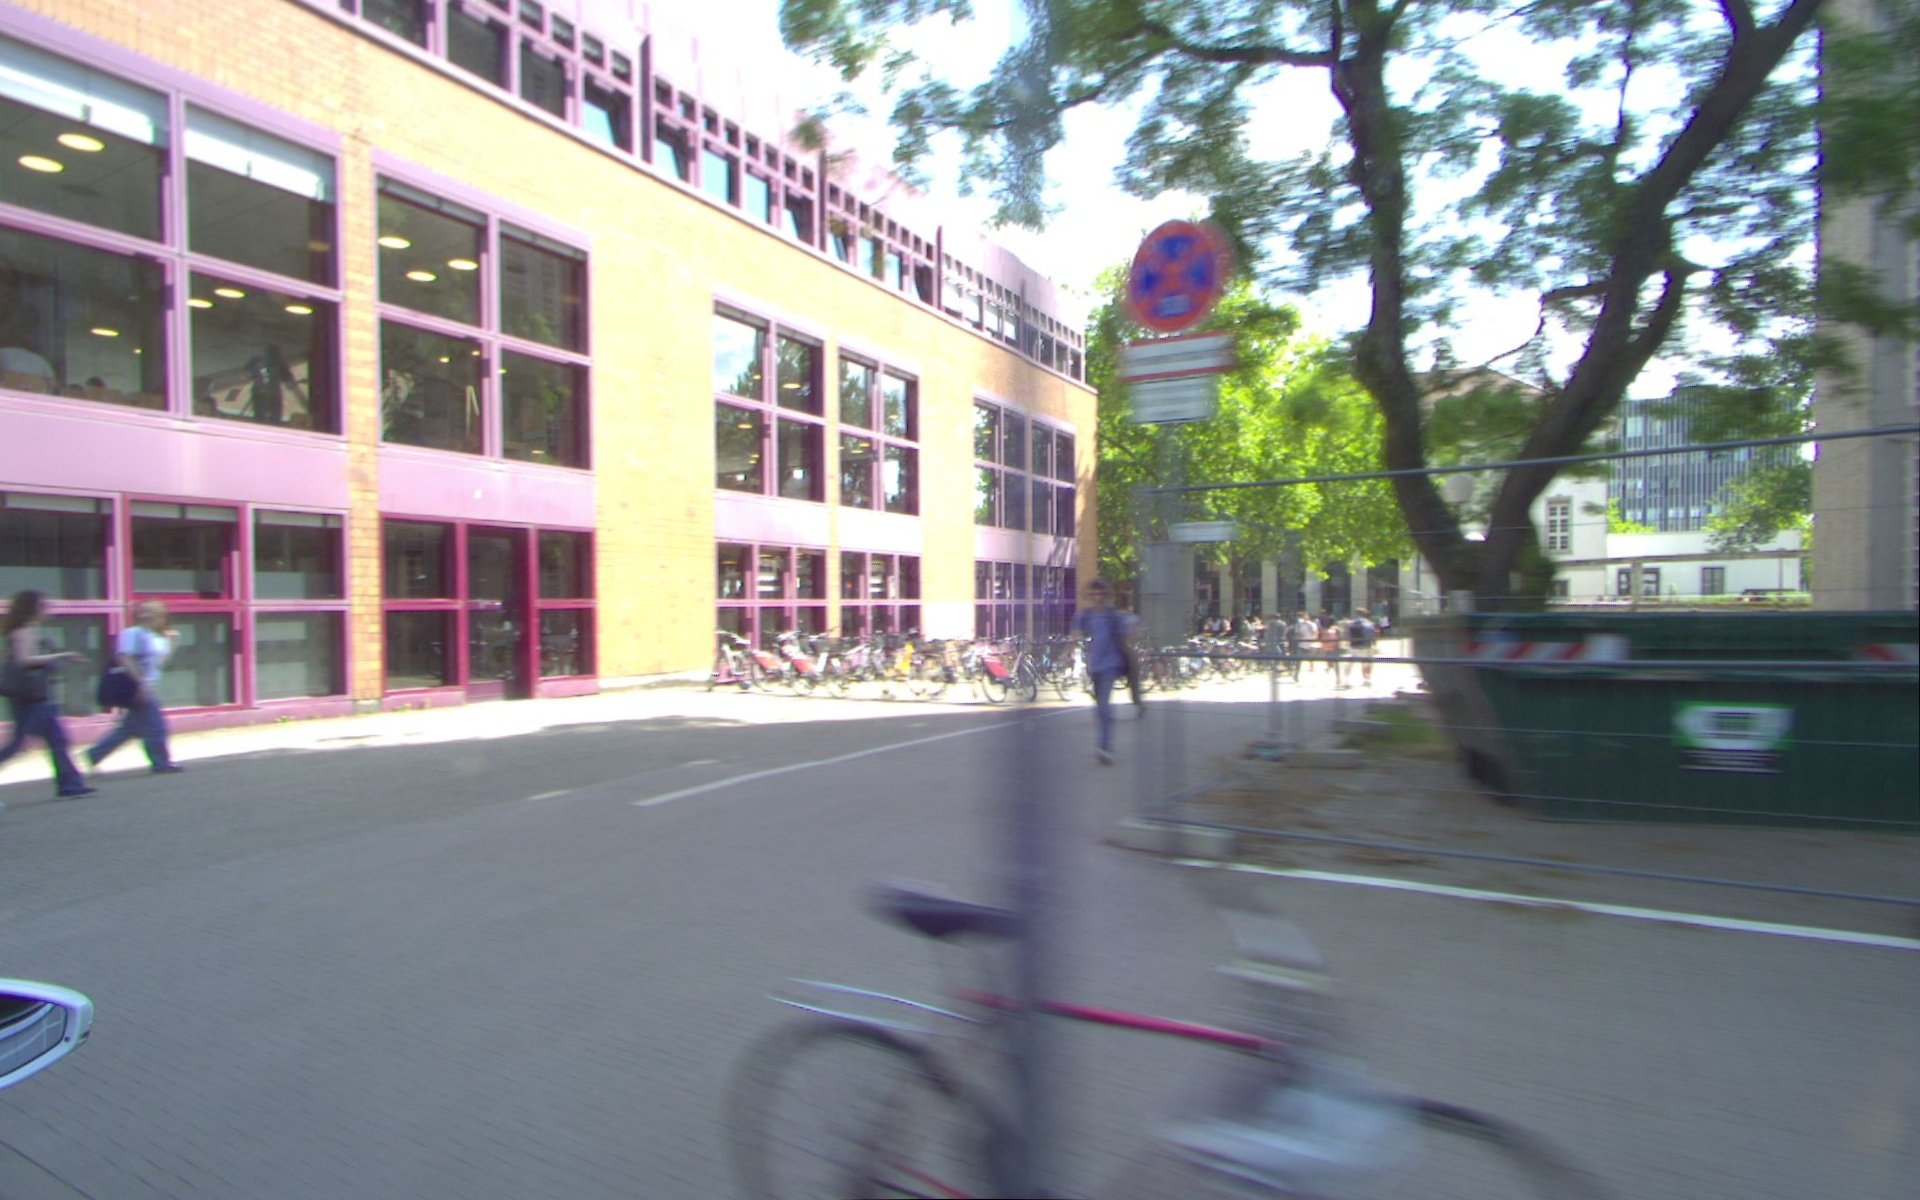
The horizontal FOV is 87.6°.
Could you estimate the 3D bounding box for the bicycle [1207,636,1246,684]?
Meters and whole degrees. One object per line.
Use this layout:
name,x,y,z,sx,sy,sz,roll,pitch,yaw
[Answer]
bicycle,6.965,1.541,26.136,0.537,1.184,1.995,0,-2,28

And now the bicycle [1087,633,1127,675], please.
bicycle,4.421,1.599,29.924,0.537,1.184,1.995,0,-2,28

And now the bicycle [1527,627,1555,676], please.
bicycle,14.724,1.294,25.403,0.537,1.184,1.995,0,-2,28

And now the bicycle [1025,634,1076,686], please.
bicycle,2.186,1.408,23.971,0.467,1.184,1.995,0,-2,28

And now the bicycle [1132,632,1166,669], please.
bicycle,6.234,1.643,32.985,0.537,1.184,1.995,0,-2,28

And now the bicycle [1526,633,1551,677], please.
bicycle,16.297,1.530,28.221,0.537,1.184,1.995,0,-2,28

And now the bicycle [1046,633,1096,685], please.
bicycle,2.633,1.367,23.614,0.467,1.184,1.995,0,-2,28

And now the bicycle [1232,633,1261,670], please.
bicycle,9.632,1.707,33.604,0.537,1.184,1.995,0,-2,28

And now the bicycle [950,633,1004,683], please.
bicycle,0.442,1.414,24.802,0.467,1.184,1.995,0,-2,28

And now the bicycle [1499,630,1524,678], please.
bicycle,14.137,1.369,25.686,0.537,1.184,1.995,0,-2,28

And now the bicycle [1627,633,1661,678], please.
bicycle,18.627,1.498,27.296,0.537,1.184,1.995,0,-2,28

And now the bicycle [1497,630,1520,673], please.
bicycle,15.629,1.444,28.550,0.537,1.184,1.995,0,-2,28

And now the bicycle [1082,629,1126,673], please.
bicycle,3.996,1.394,27.689,0.537,1.184,1.995,0,-2,28

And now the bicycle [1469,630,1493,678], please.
bicycle,13.504,1.386,25.928,0.537,1.184,1.995,0,-2,28

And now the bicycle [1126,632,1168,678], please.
bicycle,5.087,1.472,27.160,0.537,1.184,1.995,0,-2,28

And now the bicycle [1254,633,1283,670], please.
bicycle,10.265,1.702,33.279,0.537,1.184,1.995,0,-2,28

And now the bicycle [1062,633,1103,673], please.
bicycle,3.748,1.606,30.478,0.537,1.184,1.995,0,-2,28

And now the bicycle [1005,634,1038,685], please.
bicycle,1.511,1.423,24.289,0.465,1.184,2.002,0,-2,13

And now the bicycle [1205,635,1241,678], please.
bicycle,7.461,1.580,28.352,0.537,1.184,1.995,0,-2,28

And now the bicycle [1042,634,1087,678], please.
bicycle,2.964,1.558,28.151,0.537,1.184,1.995,0,-2,28

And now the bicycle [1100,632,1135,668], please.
bicycle,5.278,1.662,33.437,0.537,1.184,1.995,0,-2,28

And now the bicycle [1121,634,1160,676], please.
bicycle,5.310,1.587,29.407,0.537,1.184,1.995,0,-2,28

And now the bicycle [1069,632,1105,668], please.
bicycle,4.346,1.674,34.083,0.537,1.184,1.995,0,-2,28

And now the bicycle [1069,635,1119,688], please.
bicycle,3.164,1.420,23.501,0.467,1.184,1.995,0,-2,28

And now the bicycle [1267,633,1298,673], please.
bicycle,9.911,1.618,30.741,0.537,1.184,1.995,0,-2,28

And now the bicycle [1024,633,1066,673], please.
bicycle,2.640,1.626,30.831,0.537,1.184,1.995,0,-2,28

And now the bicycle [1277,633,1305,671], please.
bicycle,10.871,1.696,32.843,0.537,1.184,1.995,0,-2,28

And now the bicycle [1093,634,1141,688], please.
bicycle,3.645,1.389,23.179,0.467,1.184,1.995,0,-2,28

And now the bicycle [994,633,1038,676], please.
bicycle,1.645,1.563,29.102,0.537,1.184,1.996,0,-2,26

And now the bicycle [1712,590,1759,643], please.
bicycle,18.147,0.413,23.472,0.537,1.184,1.995,0,-2,28

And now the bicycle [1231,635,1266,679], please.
bicycle,8.118,1.580,28.121,0.537,1.184,1.995,0,-2,28

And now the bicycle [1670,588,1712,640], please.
bicycle,17.375,0.349,23.827,0.537,1.184,1.995,0,-2,28

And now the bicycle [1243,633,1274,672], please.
bicycle,9.333,1.625,31.238,0.537,1.184,1.995,0,-2,28

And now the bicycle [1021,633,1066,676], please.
bicycle,2.398,1.538,28.684,0.537,1.184,1.995,0,-2,28

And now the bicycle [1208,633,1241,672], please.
bicycle,8.343,1.628,31.537,0.537,1.184,1.995,0,-2,28

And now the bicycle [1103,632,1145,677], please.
bicycle,4.513,1.470,27.435,0.537,1.184,1.995,0,-2,28
